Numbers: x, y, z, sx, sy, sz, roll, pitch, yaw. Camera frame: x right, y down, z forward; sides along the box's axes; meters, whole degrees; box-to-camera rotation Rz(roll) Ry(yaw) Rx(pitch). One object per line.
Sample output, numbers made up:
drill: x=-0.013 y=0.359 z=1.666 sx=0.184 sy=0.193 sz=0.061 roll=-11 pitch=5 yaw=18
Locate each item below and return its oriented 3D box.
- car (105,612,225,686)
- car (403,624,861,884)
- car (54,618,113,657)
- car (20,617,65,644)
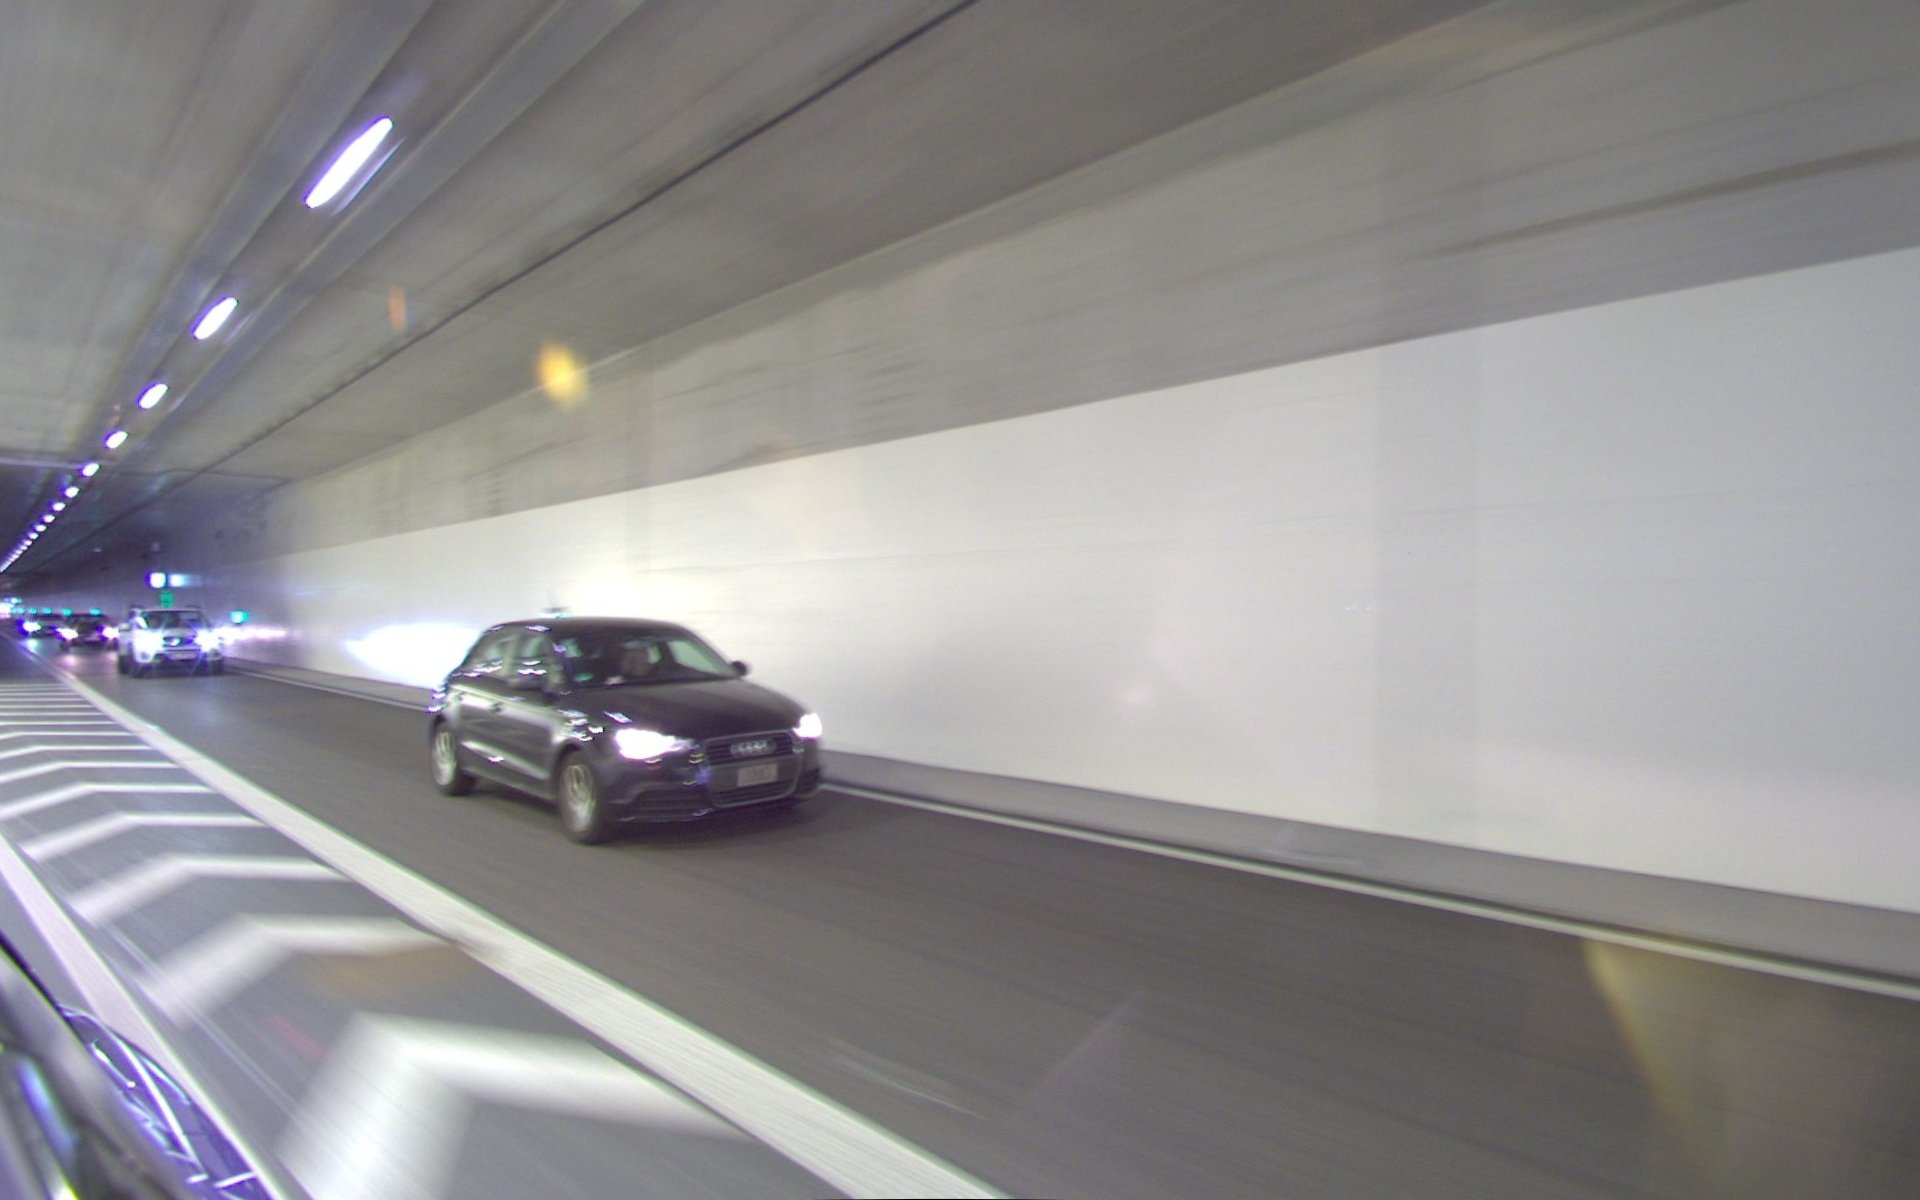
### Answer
car: x=-19.716 y=1.141 z=25.048 sx=3.832 sy=1.677 sz=1.828 roll=-1 pitch=-1 yaw=44
car: x=-2.636 y=0.908 z=7.600 sx=3.877 sy=1.412 sz=1.638 roll=-1 pitch=-1 yaw=44
car: x=-36.330 y=1.526 z=41.920 sx=1.585 sy=1.481 sz=3.683 roll=-2 pitch=1 yaw=-44
car: x=-53.954 y=1.763 z=59.508 sx=3.681 sy=1.463 sz=1.695 roll=-1 pitch=1 yaw=44
